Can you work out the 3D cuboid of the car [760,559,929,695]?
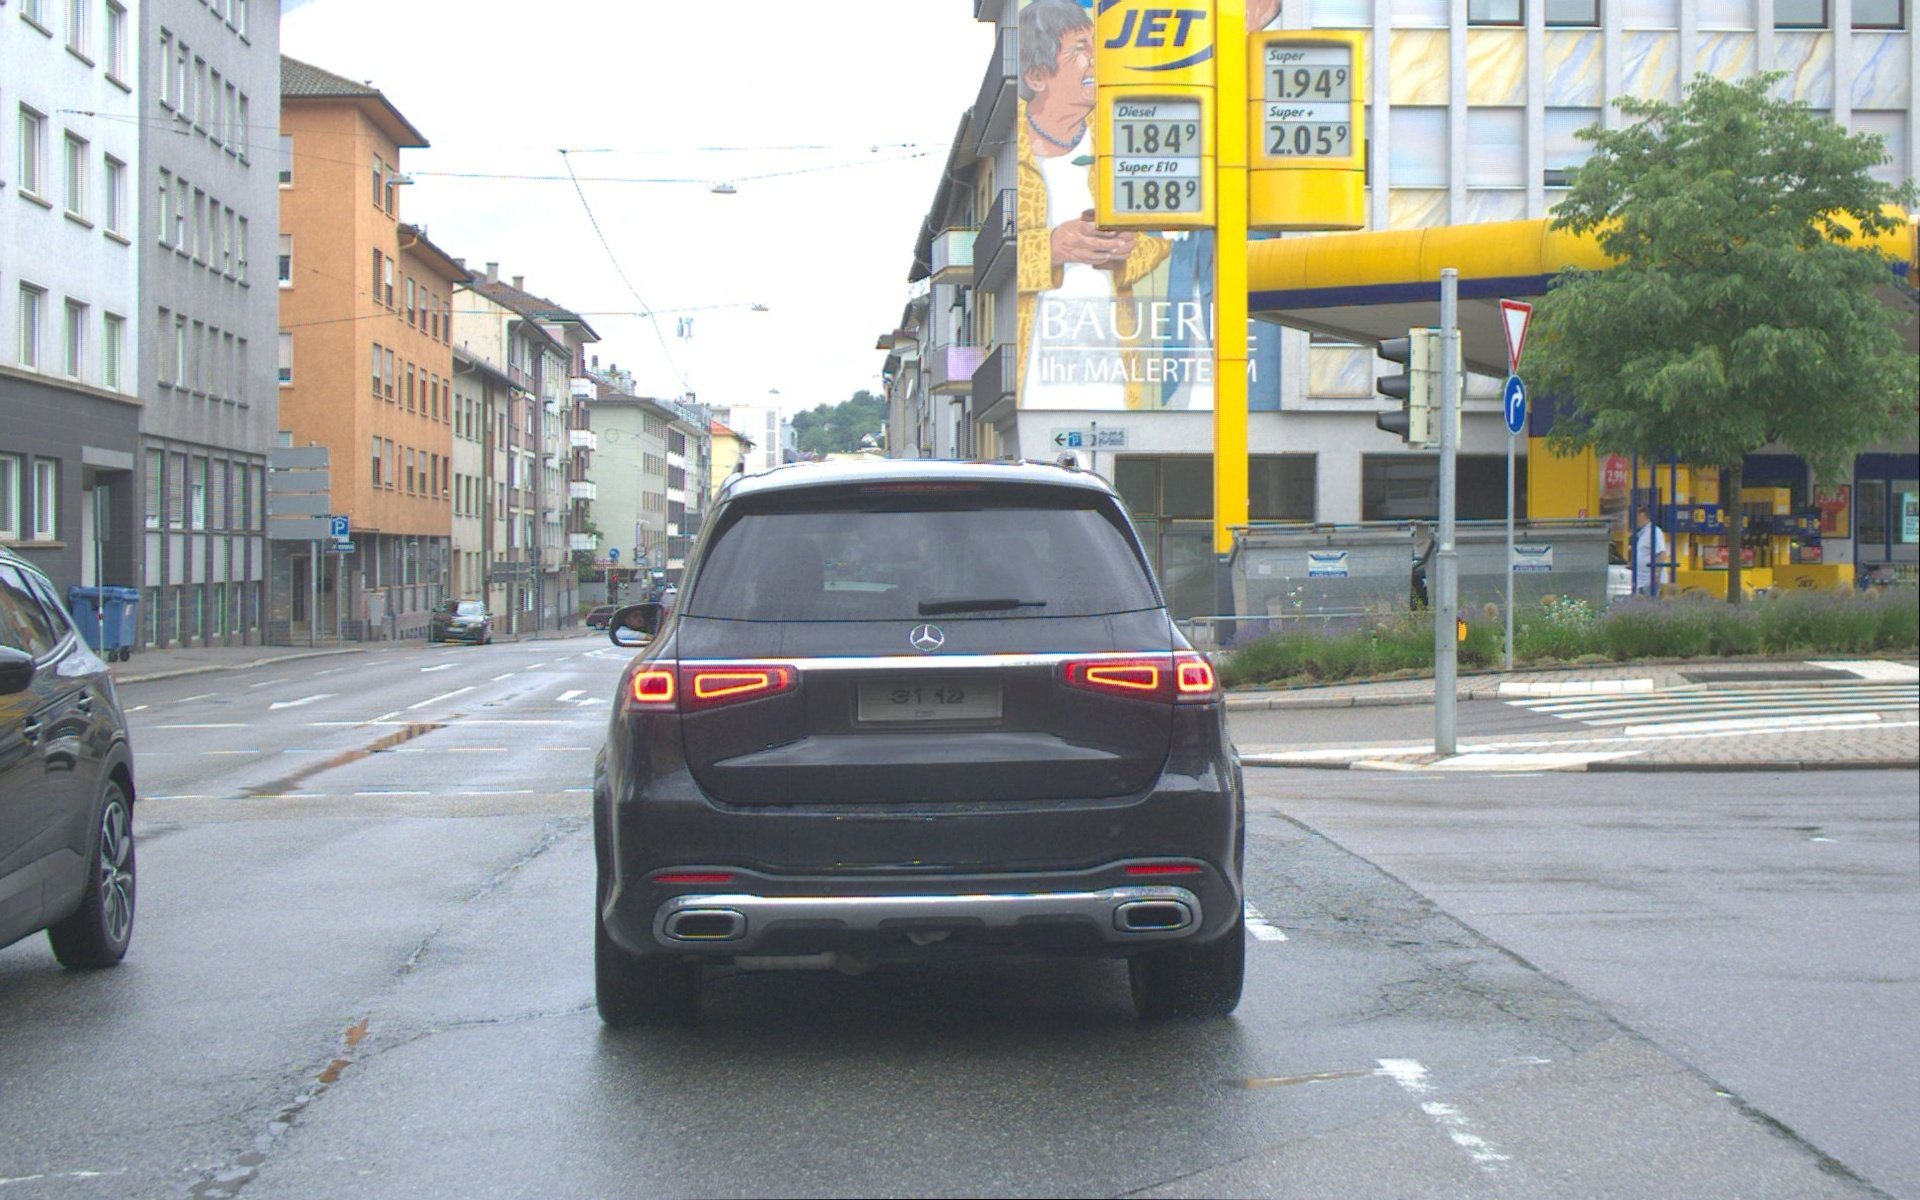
[{"bbox_3d":[-1.553,0.322,45.464,2.076,1.644,4.295,2,0,-3],"label":"car"}]

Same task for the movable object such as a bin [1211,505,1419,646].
[{"bbox_3d":[4.076,-0.281,39.671,2.155,1.569,1.773,-1,0,-2],"label":"movable object such as a bin"}]

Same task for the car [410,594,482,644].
[{"bbox_3d":[-16.253,0.586,108.864,1.891,1.454,4.550,2,0,-4],"label":"car"}]

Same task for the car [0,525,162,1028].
[{"bbox_3d":[-3.943,0.552,11.173,1.808,1.589,4.295,0,0,-2],"label":"car"}]

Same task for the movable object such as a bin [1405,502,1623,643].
[{"bbox_3d":[6.390,-0.314,39.804,2.155,1.550,1.773,-1,0,-2],"label":"movable object such as a bin"}]

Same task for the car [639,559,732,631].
[{"bbox_3d":[-6.653,-0.128,83.625,2.076,1.644,4.295,2,0,-3],"label":"car"}]

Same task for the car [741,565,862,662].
[{"bbox_3d":[-2.884,0.220,62.402,2.076,1.644,4.295,2,0,-3],"label":"car"}]

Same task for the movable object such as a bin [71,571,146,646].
[{"bbox_3d":[-15.456,0.142,62.425,1.076,1.320,1.191,2,0,-2],"label":"movable object such as a bin"}]

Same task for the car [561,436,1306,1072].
[{"bbox_3d":[-0.180,0.422,12.124,2.076,1.759,4.611,2,0,-3],"label":"car"}]

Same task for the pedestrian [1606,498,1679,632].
[{"bbox_3d":[8.224,-0.425,41.431,0.664,1.579,0.847,2,0,0],"label":"pedestrian"}]
